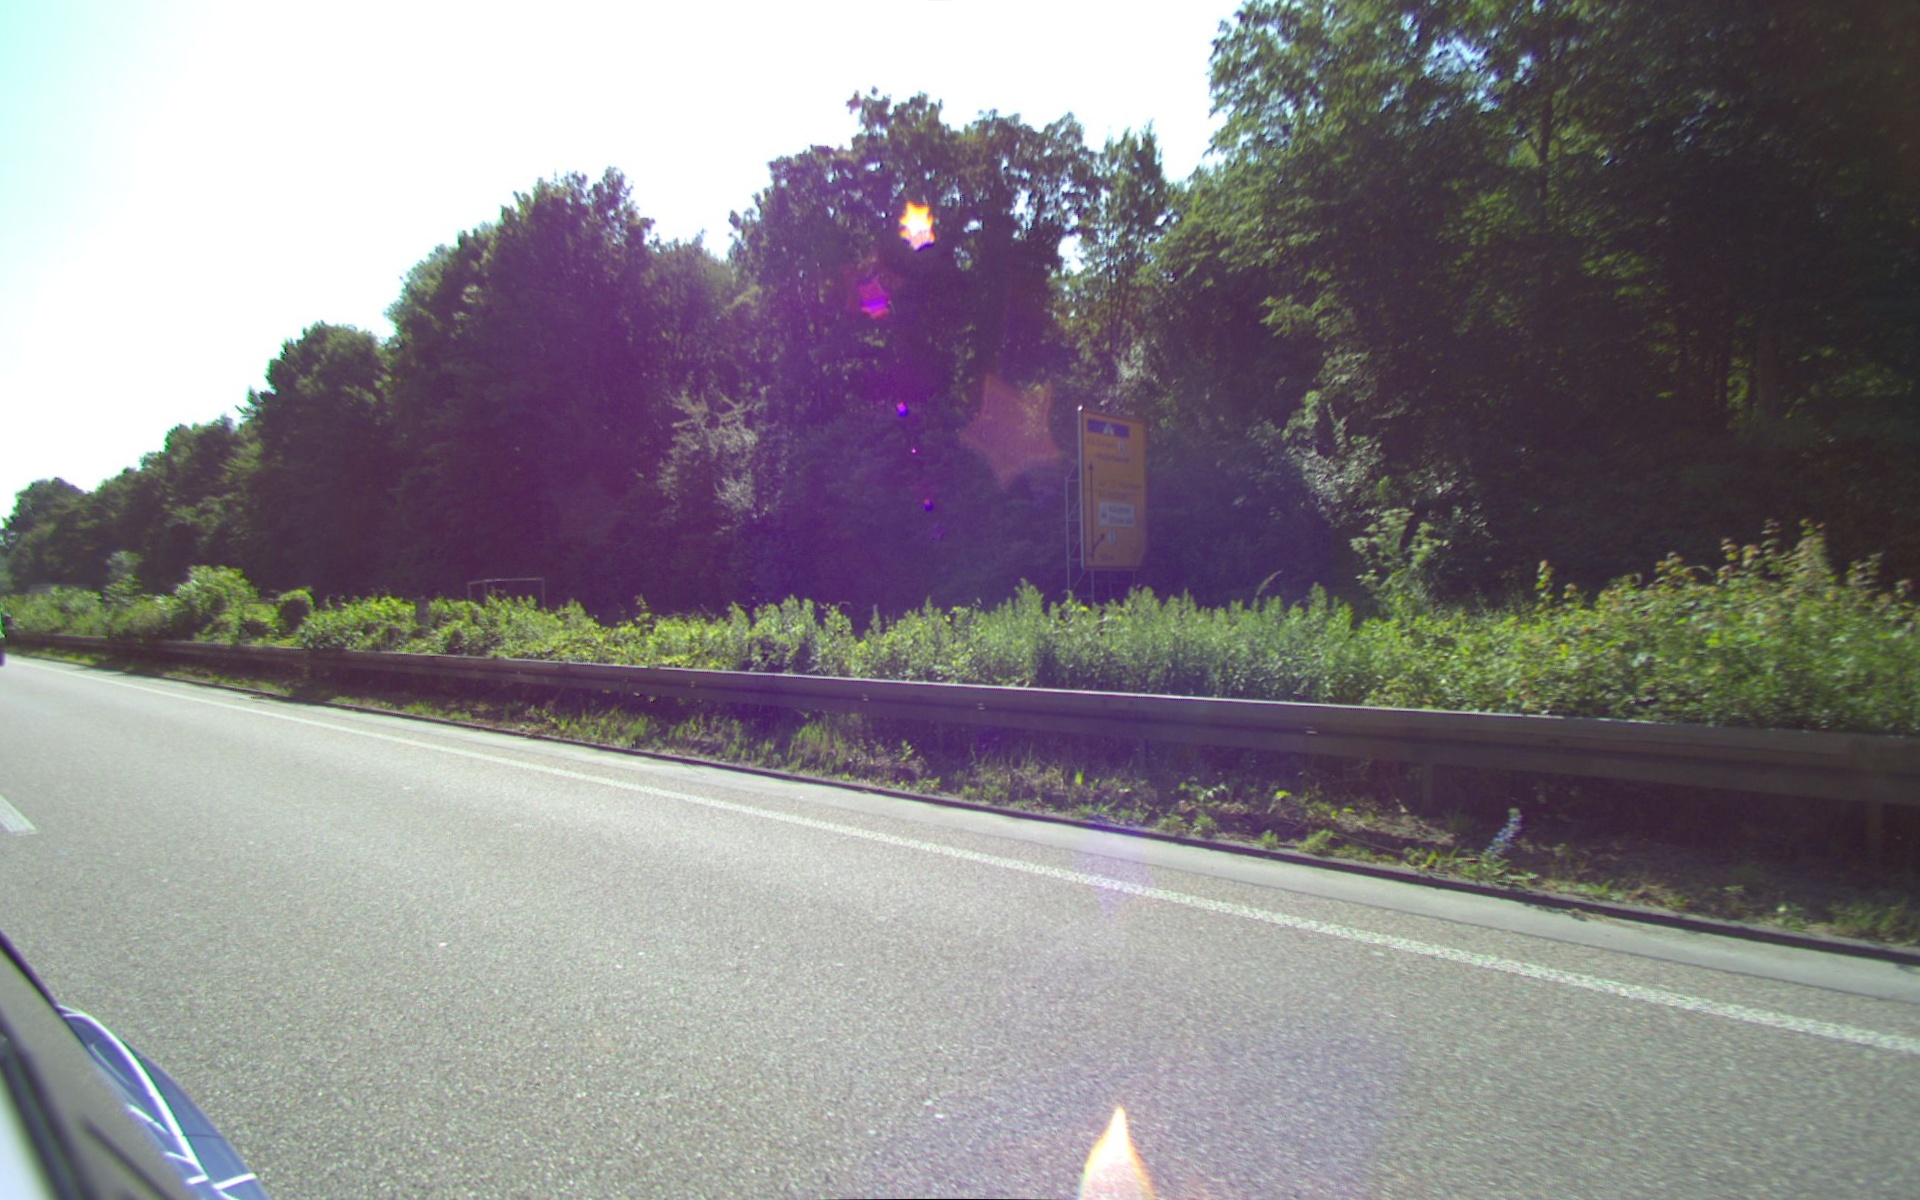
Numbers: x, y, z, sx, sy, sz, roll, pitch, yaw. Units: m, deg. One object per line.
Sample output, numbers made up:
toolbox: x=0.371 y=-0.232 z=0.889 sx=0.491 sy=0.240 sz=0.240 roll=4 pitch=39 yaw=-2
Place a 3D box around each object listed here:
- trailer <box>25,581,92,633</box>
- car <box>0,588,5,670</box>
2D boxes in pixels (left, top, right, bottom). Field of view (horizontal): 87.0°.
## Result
trailer: x=-80.052 y=0.623 z=89.749 sx=13.657 sy=4.332 sz=2.799 roll=-1 pitch=0 yaw=41
car: x=-31.146 y=0.897 z=31.201 sx=4.635 sy=2.462 sz=2.020 roll=-1 pitch=0 yaw=41
